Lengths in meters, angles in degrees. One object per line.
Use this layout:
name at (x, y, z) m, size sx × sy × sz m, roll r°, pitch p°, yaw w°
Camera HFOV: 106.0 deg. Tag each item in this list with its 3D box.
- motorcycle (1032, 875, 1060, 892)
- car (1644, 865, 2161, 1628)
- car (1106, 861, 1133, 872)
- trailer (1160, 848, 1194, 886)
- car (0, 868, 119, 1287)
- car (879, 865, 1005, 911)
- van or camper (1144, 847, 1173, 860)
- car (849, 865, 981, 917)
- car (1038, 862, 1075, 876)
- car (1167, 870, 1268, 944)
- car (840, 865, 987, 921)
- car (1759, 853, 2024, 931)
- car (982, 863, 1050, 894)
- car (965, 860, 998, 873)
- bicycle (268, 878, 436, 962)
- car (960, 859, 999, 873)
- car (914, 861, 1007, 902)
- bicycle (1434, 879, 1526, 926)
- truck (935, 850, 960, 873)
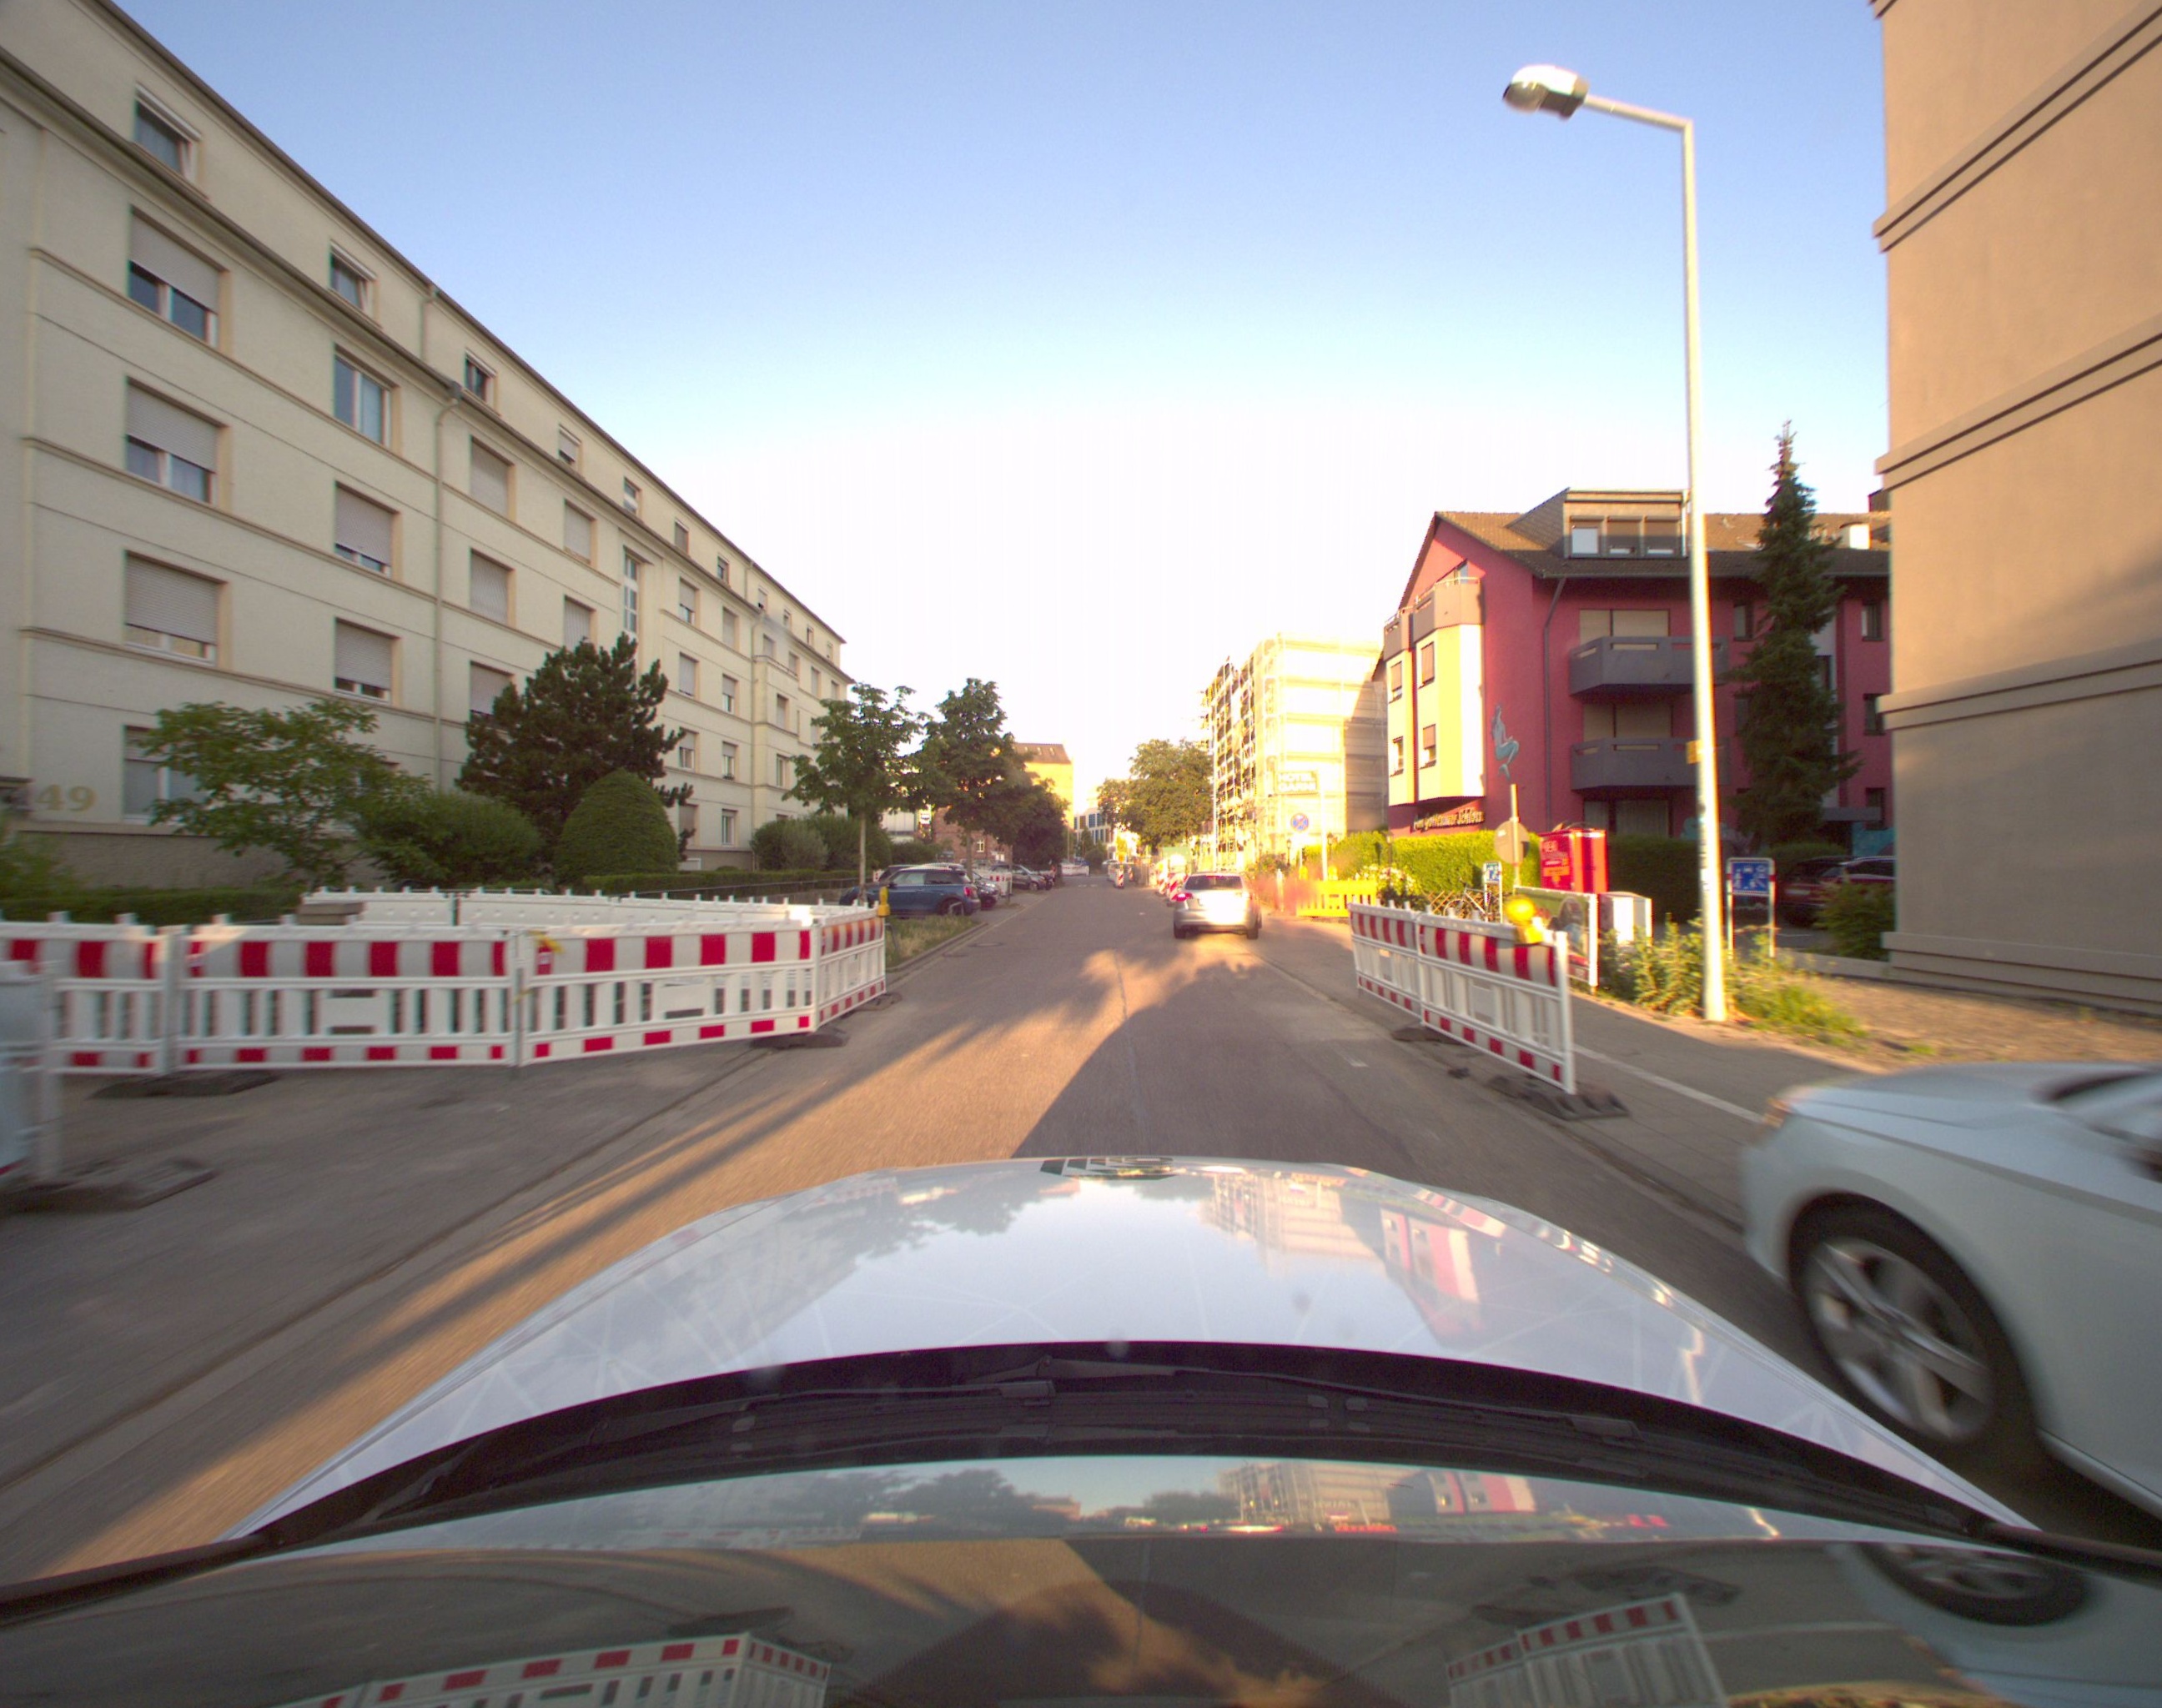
motorcycle at (-2.132, 1.787, 49.747) m, size 0.532 × 1.021 × 2.225 m, roll 2°, pitch -1°, yaw 30°
car at (2.910, 0.762, 1.023) m, size 1.610 × 1.469 × 3.995 m, roll 0°, pitch -1°, yaw -1°
car at (5.974, 1.972, 126.174) m, size 3.753 × 1.603 × 1.675 m, roll 0°, pitch -1°, yaw -20°
trailer at (6.545, 0.875, 55.721) m, size 1.986 × 2.540 × 4.188 m, roll 0°, pitch 0°, yaw 2°
car at (-5.725, 0.759, 2.436) m, size 3.684 × 1.484 × 1.729 m, roll 1°, pitch -1°, yaw 3°
car at (-4.766, 1.157, 28.221) m, size 3.961 × 1.489 × 1.729 m, roll 1°, pitch -2°, yaw 3°
van or camper at (13.693, -0.118, 143.801) m, size 4.979 × 2.240 × 1.675 m, roll 0°, pitch -1°, yaw -20°
car at (-5.116, 1.140, 25.445) m, size 3.662 × 1.484 × 1.729 m, roll 1°, pitch -2°, yaw 3°
car at (-2.988, 1.809, 98.868) m, size 4.280 × 1.709 × 1.692 m, roll 0°, pitch 0°, yaw -18°
car at (3.140, 1.071, 18.094) m, size 1.762 × 1.397 × 4.124 m, roll 0°, pitch -1°, yaw 16°
car at (-4.600, 1.063, 22.755) m, size 3.662 × 1.445 × 1.729 m, roll 1°, pitch -2°, yaw 3°
car at (17.542, 0.797, 17.789) m, size 3.887 × 1.567 × 1.886 m, roll -1°, pitch -1°, yaw 1°
car at (-3.679, 1.370, 46.233) m, size 3.611 × 1.557 × 1.693 m, roll 3°, pitch -1°, yaw 0°
car at (-11.777, 1.474, 96.493) m, size 3.638 × 1.504 × 1.629 m, roll 0°, pitch 0°, yaw -16°
bicycle at (-10.916, 0.973, 12.224) m, size 2.021 × 1.186 × 0.540 m, roll 1°, pitch -1°, yaw 1°
car at (-12.290, 1.467, 98.626) m, size 4.592 × 1.638 × 1.567 m, roll 0°, pitch 0°, yaw -16°
car at (-4.778, 1.092, 32.594) m, size 3.465 × 1.566 × 1.726 m, roll 1°, pitch -2°, yaw -2°
bicycle at (9.396, 1.144, 19.213) m, size 1.883 × 1.069 × 0.447 m, roll -1°, pitch -1°, yaw 7°
truck at (-15.909, 0.872, 96.804) m, size 2.338 × 2.617 × 4.946 m, roll 0°, pitch 0°, yaw -16°
